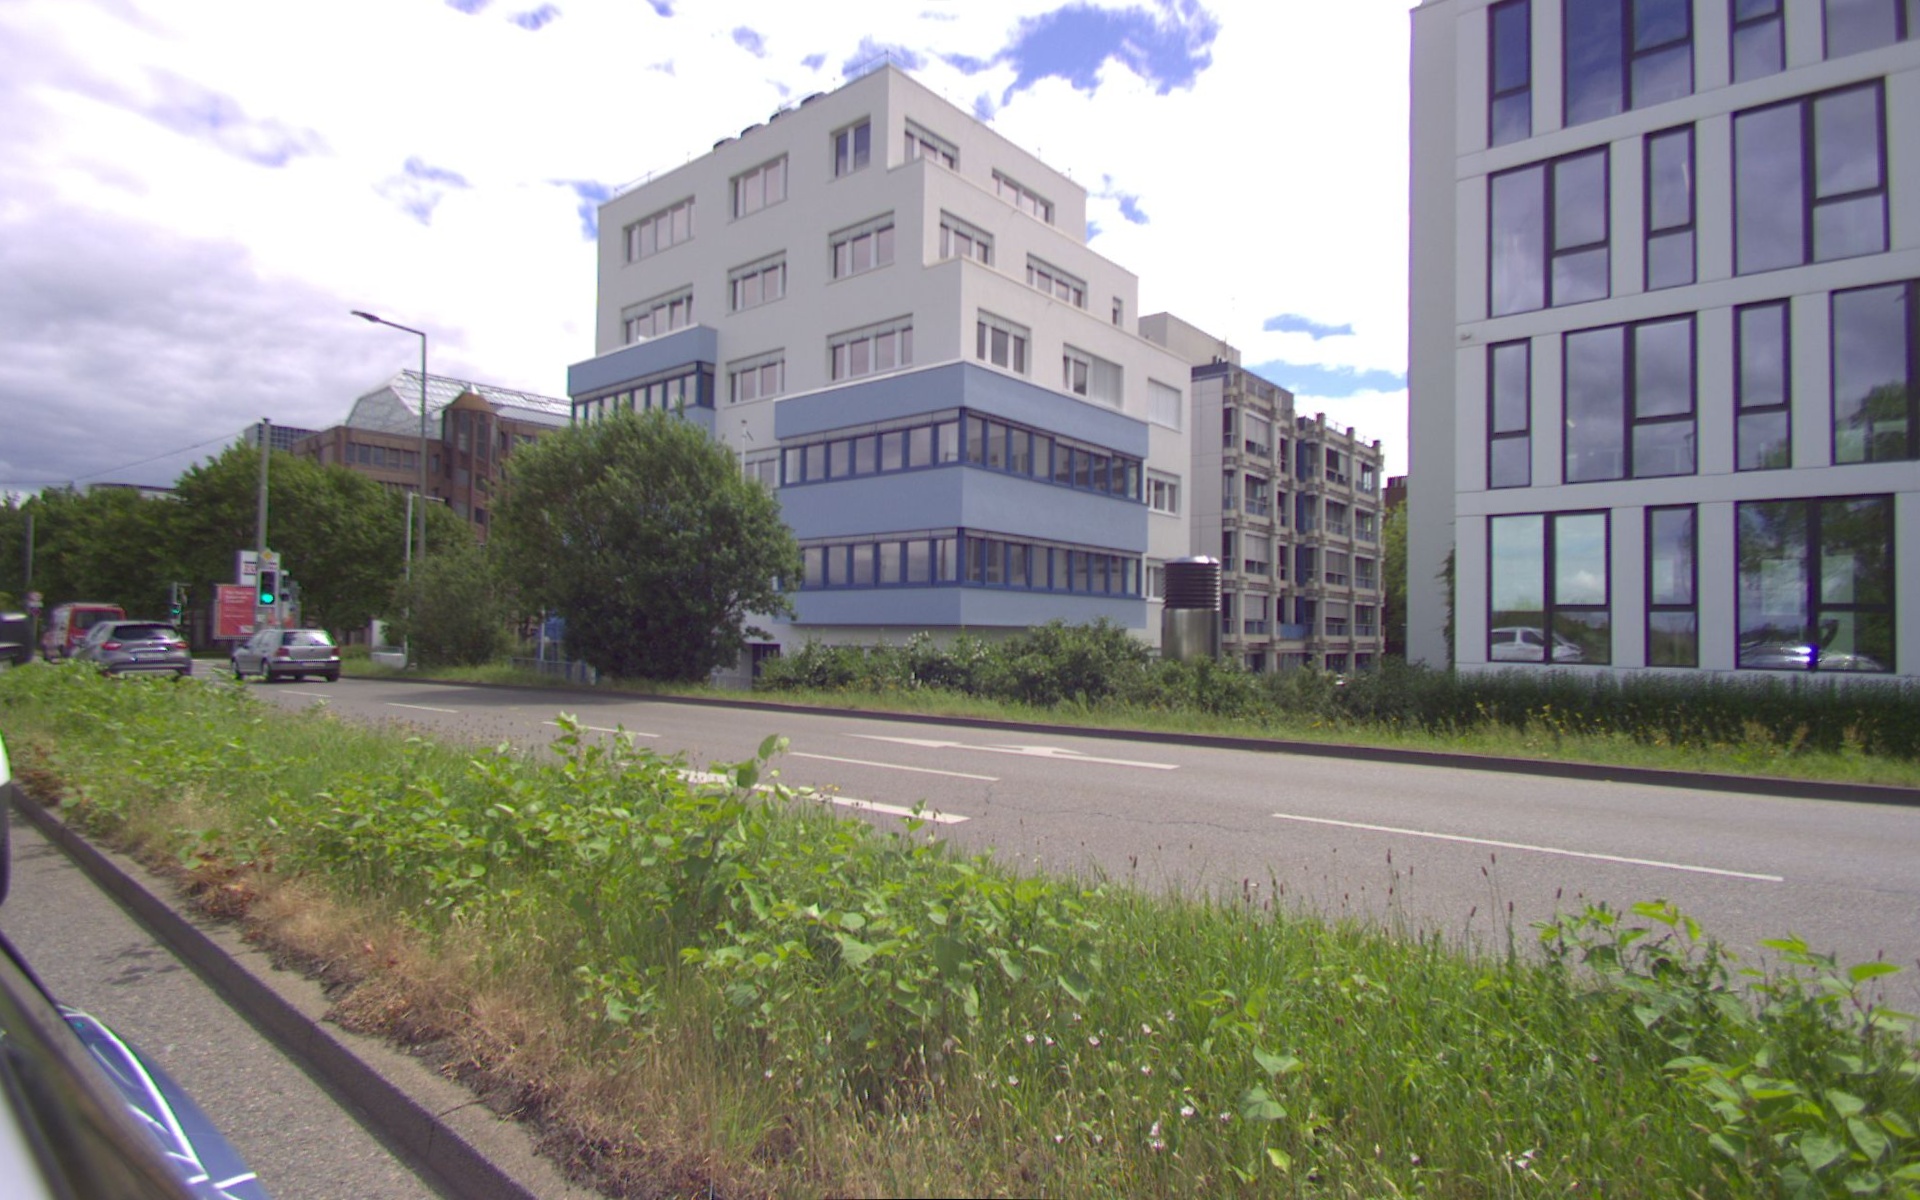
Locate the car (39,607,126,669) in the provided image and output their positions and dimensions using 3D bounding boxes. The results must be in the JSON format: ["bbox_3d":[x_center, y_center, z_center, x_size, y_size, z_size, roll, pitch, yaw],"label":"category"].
[{"bbox_3d":[-36.645,1.550,42.231,5.237,2.430,1.973,-1,-2,41],"label":"car"}]

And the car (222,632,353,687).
[{"bbox_3d":[-18.329,1.564,27.531,3.998,1.364,1.973,-2,-2,41],"label":"car"}]

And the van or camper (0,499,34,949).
[{"bbox_3d":[-7.163,0.583,5.653,5.791,2.029,1.974,-1,-3,38],"label":"van or camper"}]

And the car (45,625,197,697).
[{"bbox_3d":[-19.417,1.354,23.382,3.995,1.528,1.916,-2,-2,39],"label":"car"}]
